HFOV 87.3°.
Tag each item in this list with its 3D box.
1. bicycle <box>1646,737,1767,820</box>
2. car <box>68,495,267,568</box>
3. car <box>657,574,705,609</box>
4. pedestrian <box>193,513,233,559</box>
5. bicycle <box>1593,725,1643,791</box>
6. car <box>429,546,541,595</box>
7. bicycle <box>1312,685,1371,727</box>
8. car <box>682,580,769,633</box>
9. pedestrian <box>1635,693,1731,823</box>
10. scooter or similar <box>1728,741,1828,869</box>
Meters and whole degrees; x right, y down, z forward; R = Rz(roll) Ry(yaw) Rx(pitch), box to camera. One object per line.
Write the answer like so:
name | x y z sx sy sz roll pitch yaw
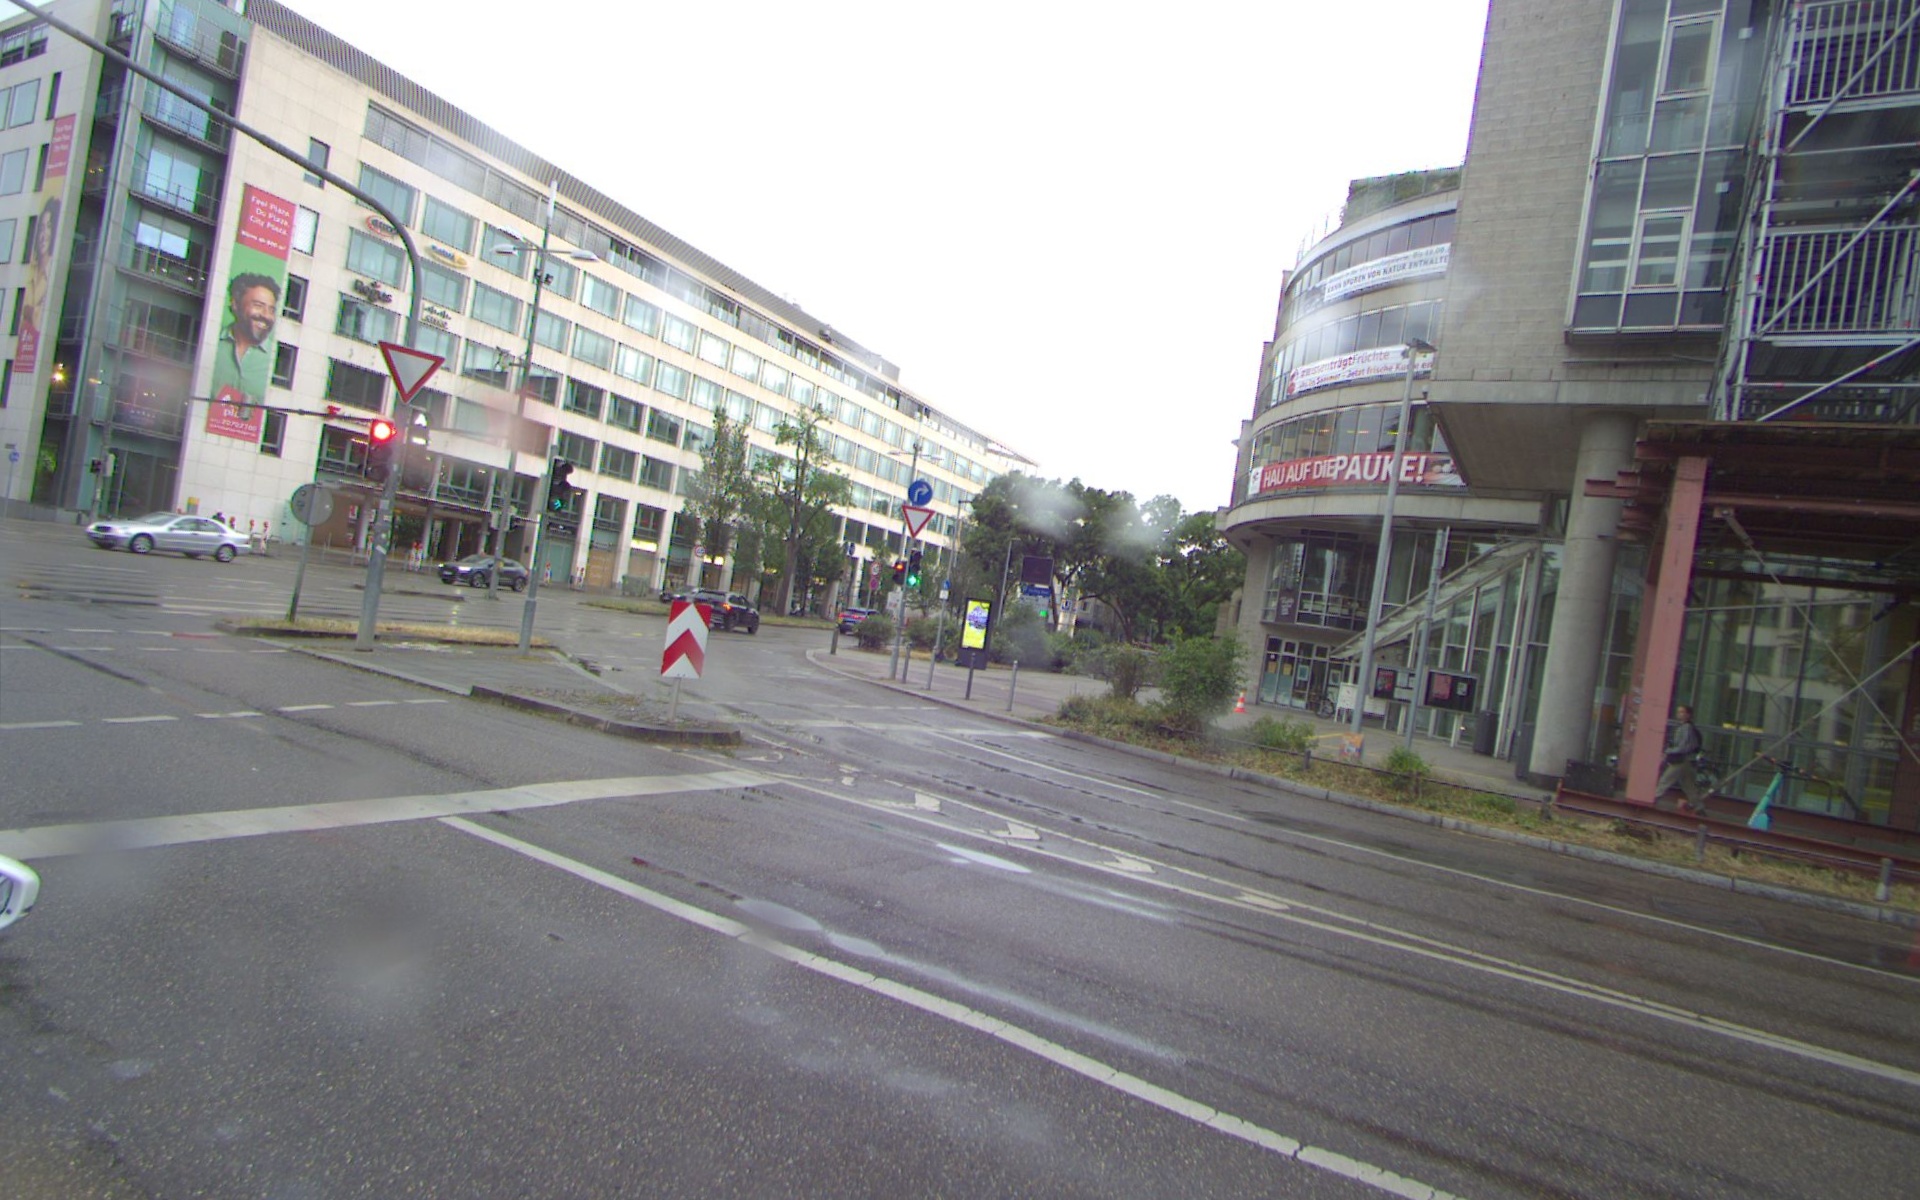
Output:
bicycle | 13.498 3.224 18.222 1.584 1.208 0.587 7 -1 6
car | -25.933 -2.180 33.149 1.963 1.493 4.739 10 -1 18
car | -20.024 -0.576 72.330 1.519 2.036 4.674 7 -2 5
pedestrian | -32.147 -2.751 43.305 0.822 1.838 0.963 6 -1 31
bicycle | 13.618 3.248 20.862 0.576 1.208 1.614 7 -2 27
car | -22.014 -1.332 46.819 1.799 1.627 4.490 7 -2 25
bicycle | 13.468 3.746 35.524 1.753 1.208 0.586 6 -1 29
car | -9.167 0.319 39.625 1.898 1.715 4.004 8 -1 7
pedestrian | 11.033 2.384 15.377 0.776 1.796 0.781 7 -1 13
scooter or similar | 9.234 2.269 11.411 0.577 1.208 1.780 7 -1 34
